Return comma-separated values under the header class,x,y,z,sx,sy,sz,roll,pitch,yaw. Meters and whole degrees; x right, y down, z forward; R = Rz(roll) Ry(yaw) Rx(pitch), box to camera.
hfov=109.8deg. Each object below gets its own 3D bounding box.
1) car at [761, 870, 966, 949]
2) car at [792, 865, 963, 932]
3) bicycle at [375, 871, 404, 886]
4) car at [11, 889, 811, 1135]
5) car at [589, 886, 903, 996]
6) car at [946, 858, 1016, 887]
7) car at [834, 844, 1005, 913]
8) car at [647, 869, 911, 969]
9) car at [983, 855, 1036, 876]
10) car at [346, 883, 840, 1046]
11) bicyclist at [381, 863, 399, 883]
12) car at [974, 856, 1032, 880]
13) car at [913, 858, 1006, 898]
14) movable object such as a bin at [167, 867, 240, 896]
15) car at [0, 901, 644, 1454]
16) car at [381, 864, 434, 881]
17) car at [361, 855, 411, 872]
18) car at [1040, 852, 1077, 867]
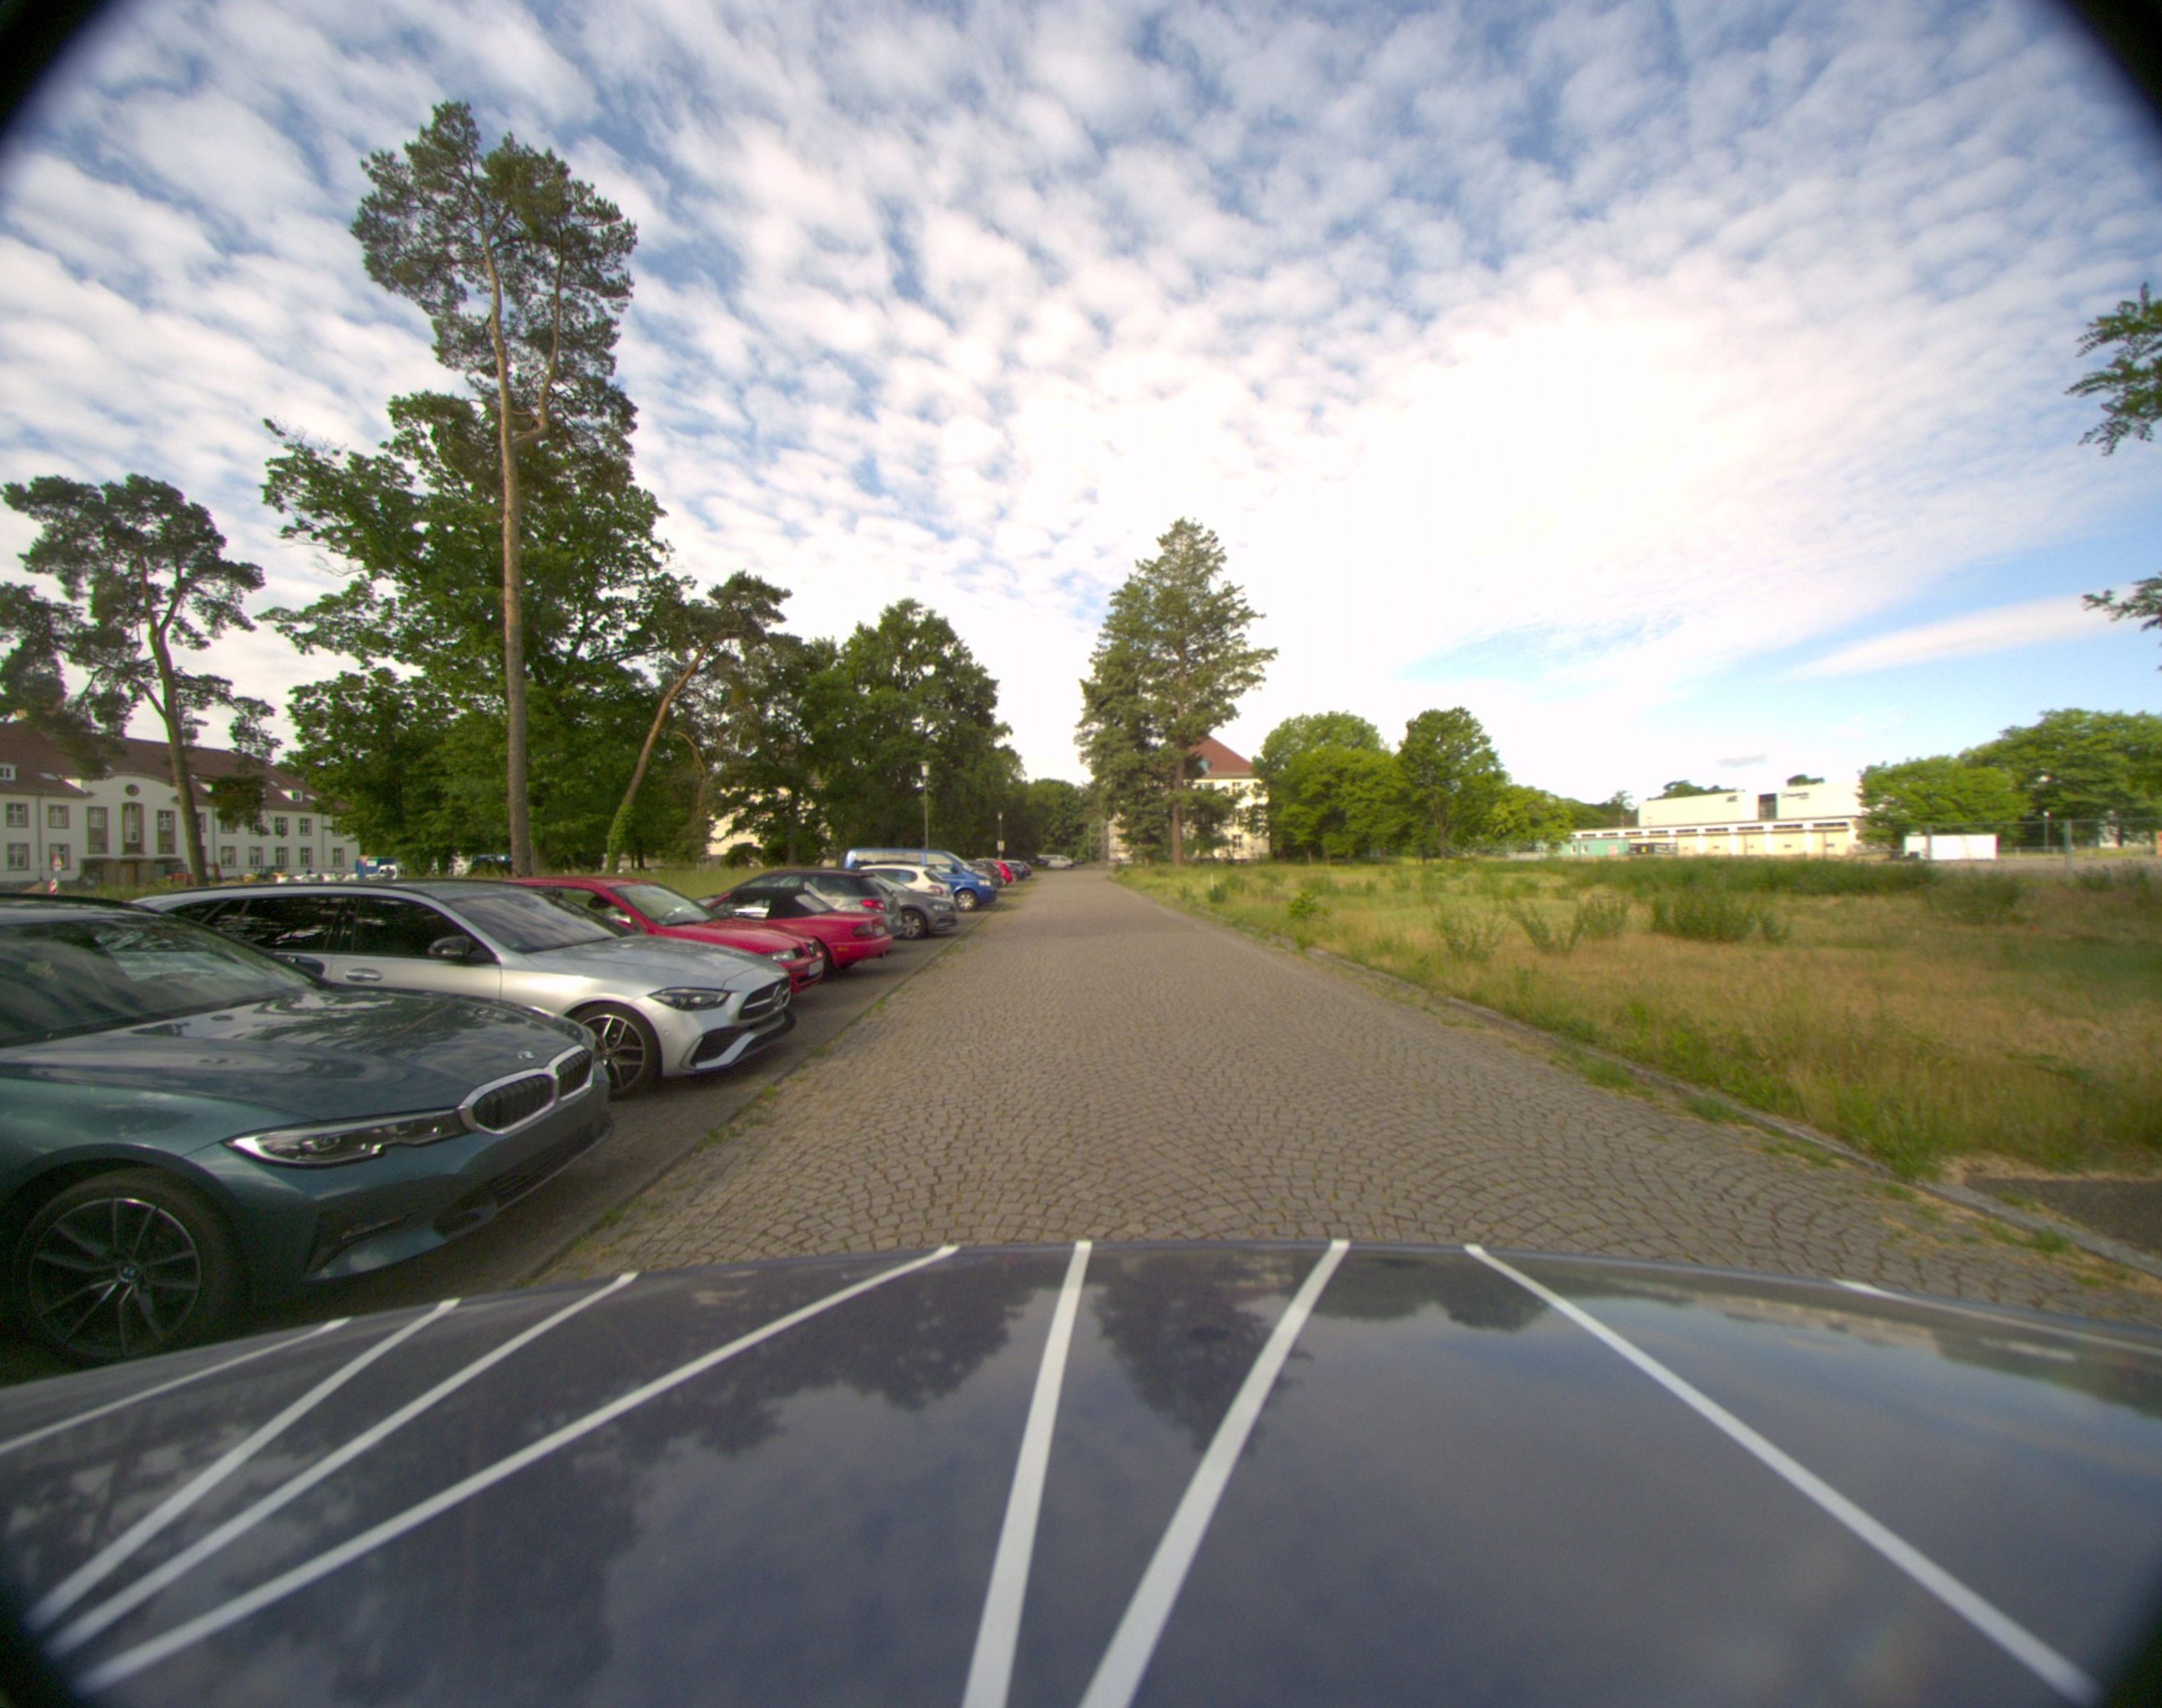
class,x,y,z,sx,sy,sz,roll,pitch,yaw
car,-4.424,1.112,15.842,3.781,1.457,1.643,-1,0,1
car,-4.937,1.065,18.779,3.762,1.490,1.581,-1,0,1
bicycle,-60.054,2.102,66.034,0.638,1.201,1.981,-1,0,2
car,-4.514,1.033,5.707,4.337,1.420,1.766,0,0,-2
car,-4.415,1.129,10.381,3.555,1.279,1.608,-1,-1,0
car,-5.644,1.035,43.225,3.839,1.516,1.580,-1,0,-5
car,-5.031,0.744,24.201,4.954,2.011,2.060,1,0,0
car,-5.011,1.052,12.973,3.838,1.494,1.604,-1,0,-2
car,-5.454,0.870,58.399,3.836,1.520,1.674,-1,0,3
car,-4.918,1.084,8.116,4.118,1.415,1.719,-1,0,-1
bicyclist,-60.070,1.637,66.077,0.667,1.724,0.844,-3,1,2
car,-5.474,0.964,53.636,3.836,1.609,1.581,-1,0,3
car,-5.188,1.014,32.844,3.839,1.592,1.580,-1,0,-5
movable object such as a bin,-92.334,2.856,80.049,2.000,2.752,5.201,-1,0,-6
car,-4.553,1.026,3.003,4.526,1.474,1.807,-1,0,-4
car,-69.928,1.877,78.970,1.847,1.674,3.937,0,0,2
car,-83.725,1.154,91.636,2.218,2.002,4.001,-1,0,4
car,-3.159,0.745,107.154,5.130,2.002,1.804,-1,0,-3
